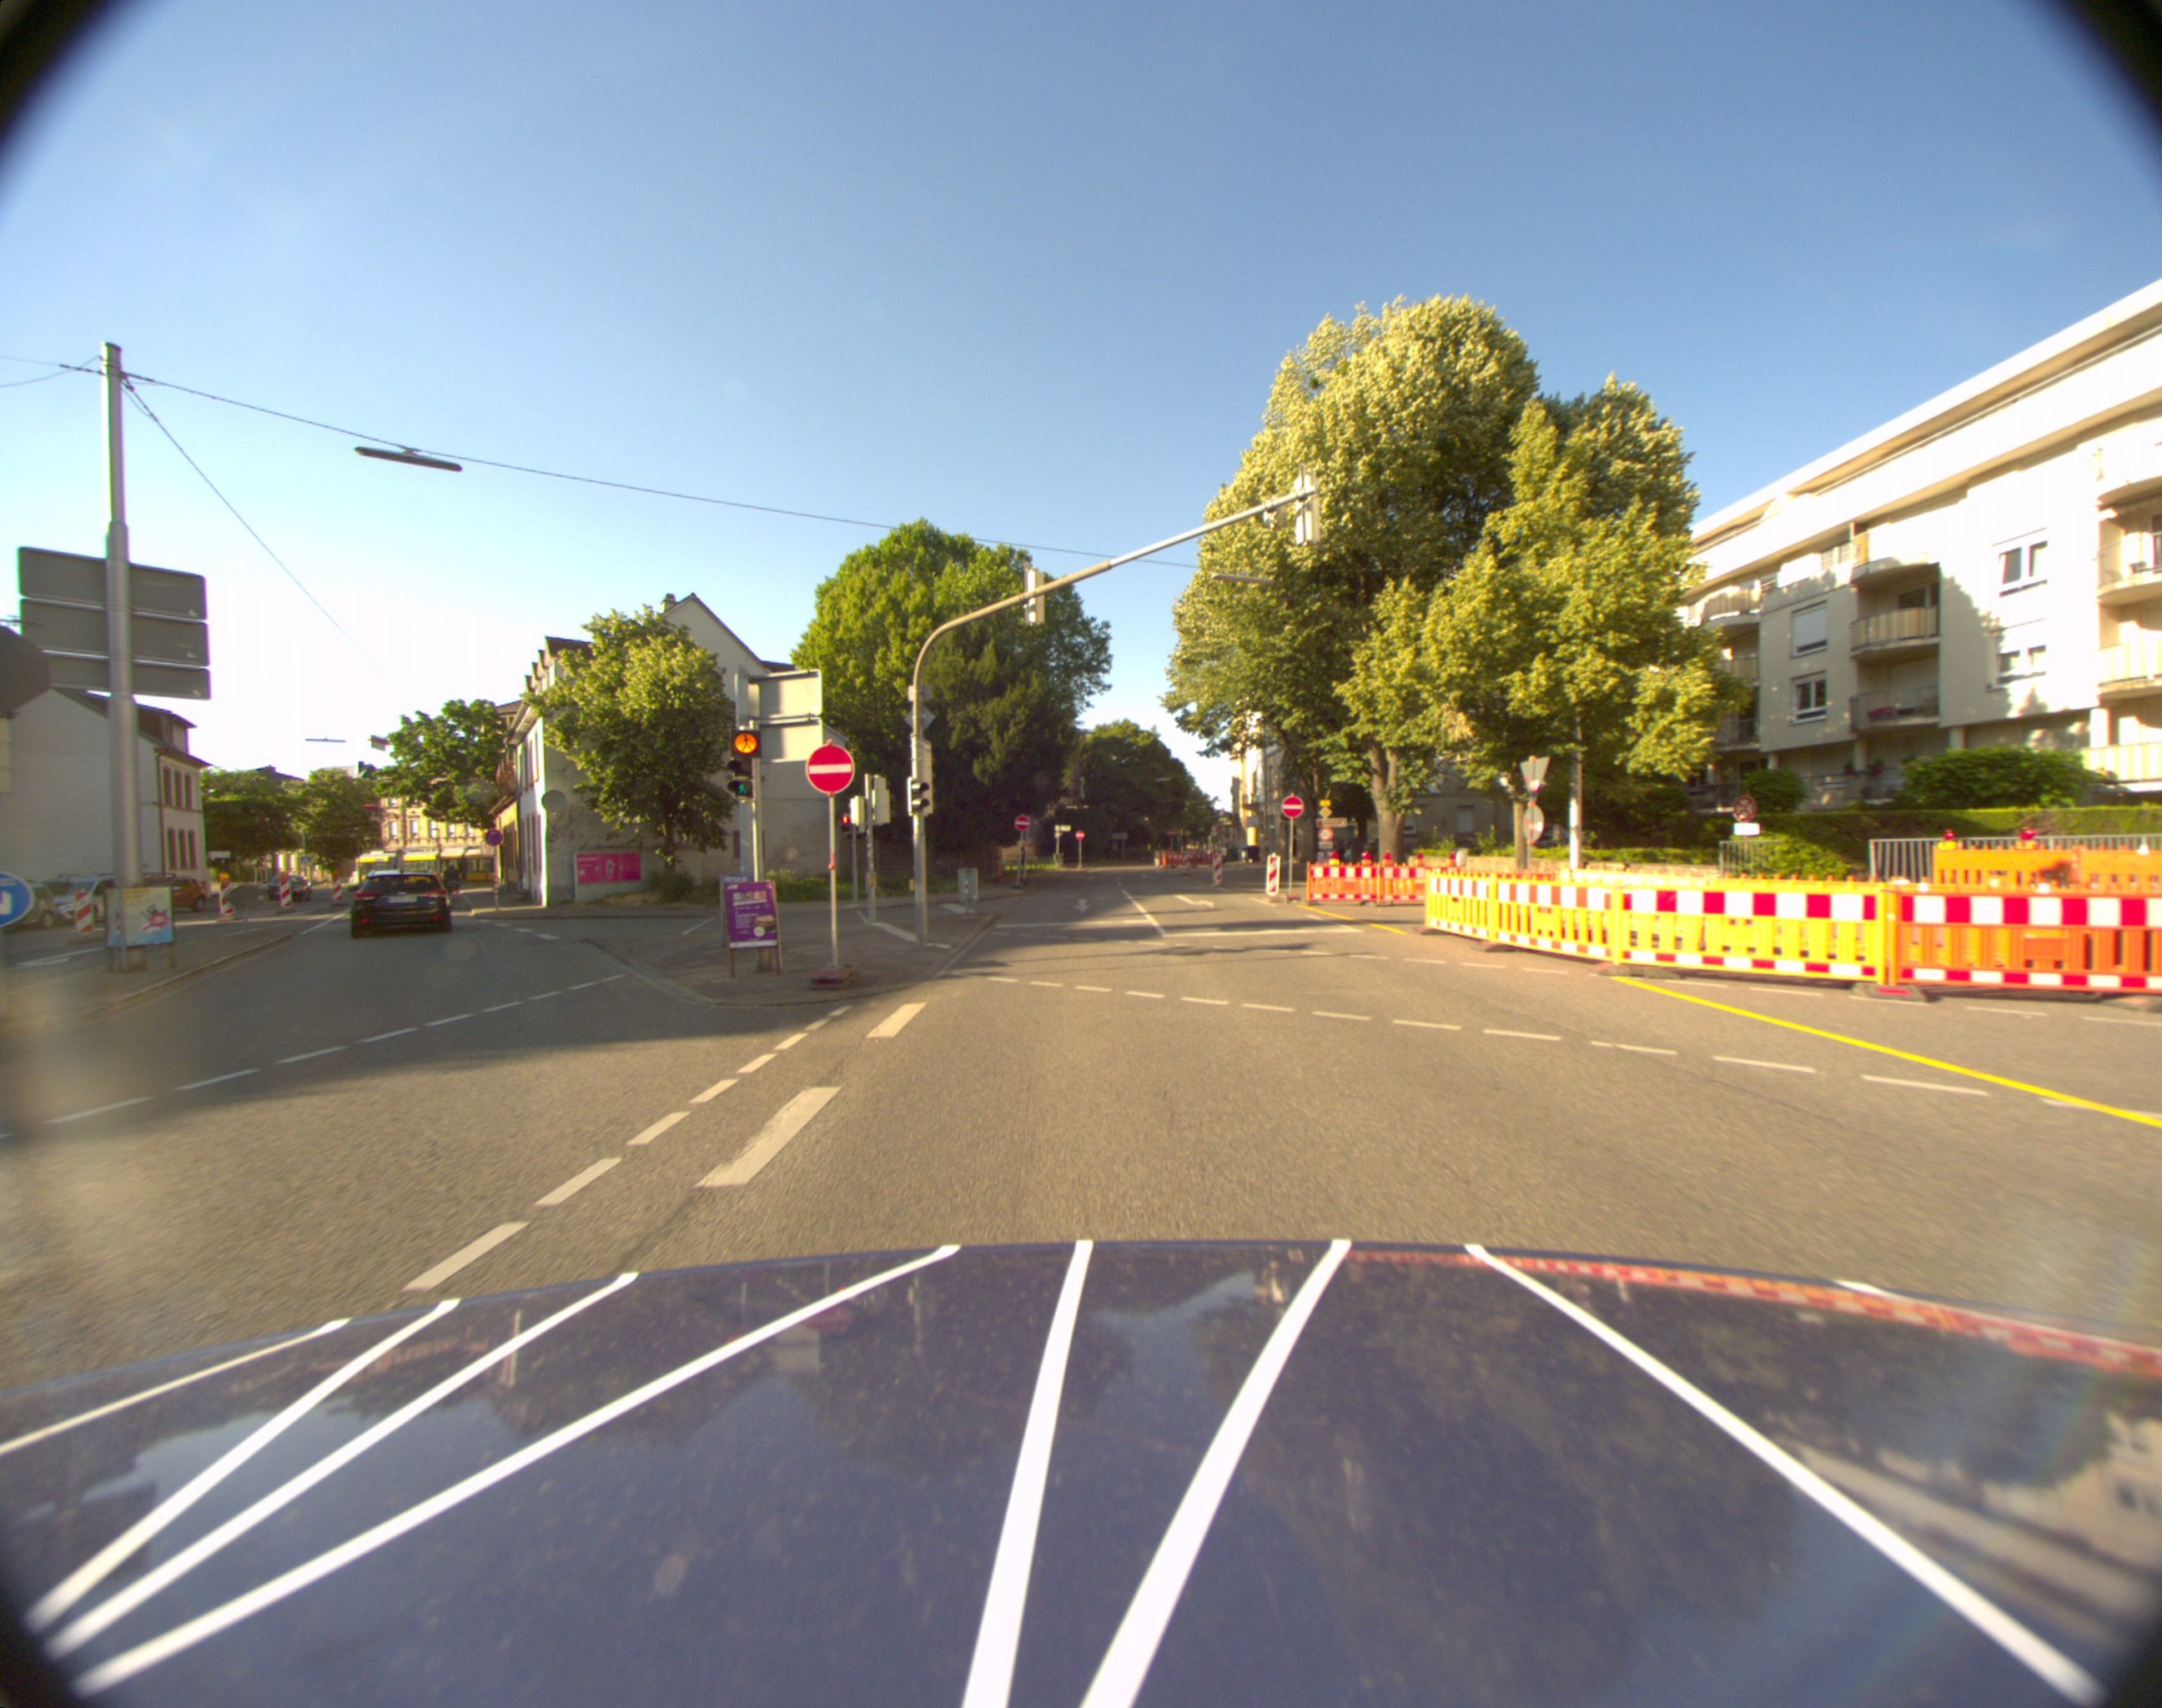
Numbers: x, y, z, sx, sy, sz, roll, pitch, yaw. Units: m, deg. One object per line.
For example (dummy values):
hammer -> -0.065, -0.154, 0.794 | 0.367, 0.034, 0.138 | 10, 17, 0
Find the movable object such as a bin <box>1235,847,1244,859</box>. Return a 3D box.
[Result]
movable object such as a bin -> 14.310, -0.100, 68.527 | 0.637, 1.035, 0.764 | -3, 1, 4

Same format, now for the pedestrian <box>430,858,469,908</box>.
pedestrian -> -24.276, 1.111, 29.245 | 0.959, 1.827, 1.286 | -3, 1, -35

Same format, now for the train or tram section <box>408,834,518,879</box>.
train or tram section -> -53.626, 0.248, 65.874 | 9.249, 3.499, 2.802 | -3, 1, 19

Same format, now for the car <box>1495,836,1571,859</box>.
car -> 30.939, -0.462, 52.147 | 3.996, 1.477, 2.000 | -1, 1, 4

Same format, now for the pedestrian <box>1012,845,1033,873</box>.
pedestrian -> -3.721, 0.307, 48.277 | 1.045, 1.771, 1.192 | -1, 1, 10

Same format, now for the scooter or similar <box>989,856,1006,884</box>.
scooter or similar -> -3.716, 0.688, 33.887 | 0.439, 1.195, 1.259 | 1, 1, 6

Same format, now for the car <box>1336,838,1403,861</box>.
car -> 20.329, -0.302, 53.599 | 3.996, 1.543, 2.000 | -1, 1, 4

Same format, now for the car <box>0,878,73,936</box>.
car -> -35.474, 1.738, 24.522 | 2.003, 1.770, 4.219 | -3, 0, -30

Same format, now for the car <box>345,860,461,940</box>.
car -> -17.202, 1.090, 19.418 | 2.004, 1.804, 4.240 | 1, -2, -40

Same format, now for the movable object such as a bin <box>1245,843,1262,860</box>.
movable object such as a bin -> 14.589, -0.201, 64.216 | 1.085, 1.423, 1.345 | -3, 1, -1

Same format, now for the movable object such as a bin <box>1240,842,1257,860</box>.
movable object such as a bin -> 14.542, -0.260, 65.891 | 1.085, 1.423, 1.407 | -3, 1, -1

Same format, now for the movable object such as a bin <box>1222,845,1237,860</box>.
movable object such as a bin -> 14.351, -0.159, 73.414 | 1.083, 1.423, 1.409 | -2, 1, 20

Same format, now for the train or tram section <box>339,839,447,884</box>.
train or tram section -> -62.474, 0.669, 68.952 | 9.844, 3.580, 2.852 | -3, 1, 20

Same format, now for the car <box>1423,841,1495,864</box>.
car -> 26.136, -0.110, 52.586 | 3.996, 1.477, 2.000 | -1, 1, 4

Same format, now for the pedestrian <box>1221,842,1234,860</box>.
pedestrian -> 13.343, -0.303, 69.220 | 0.823, 1.594, 0.917 | -3, 1, -4
